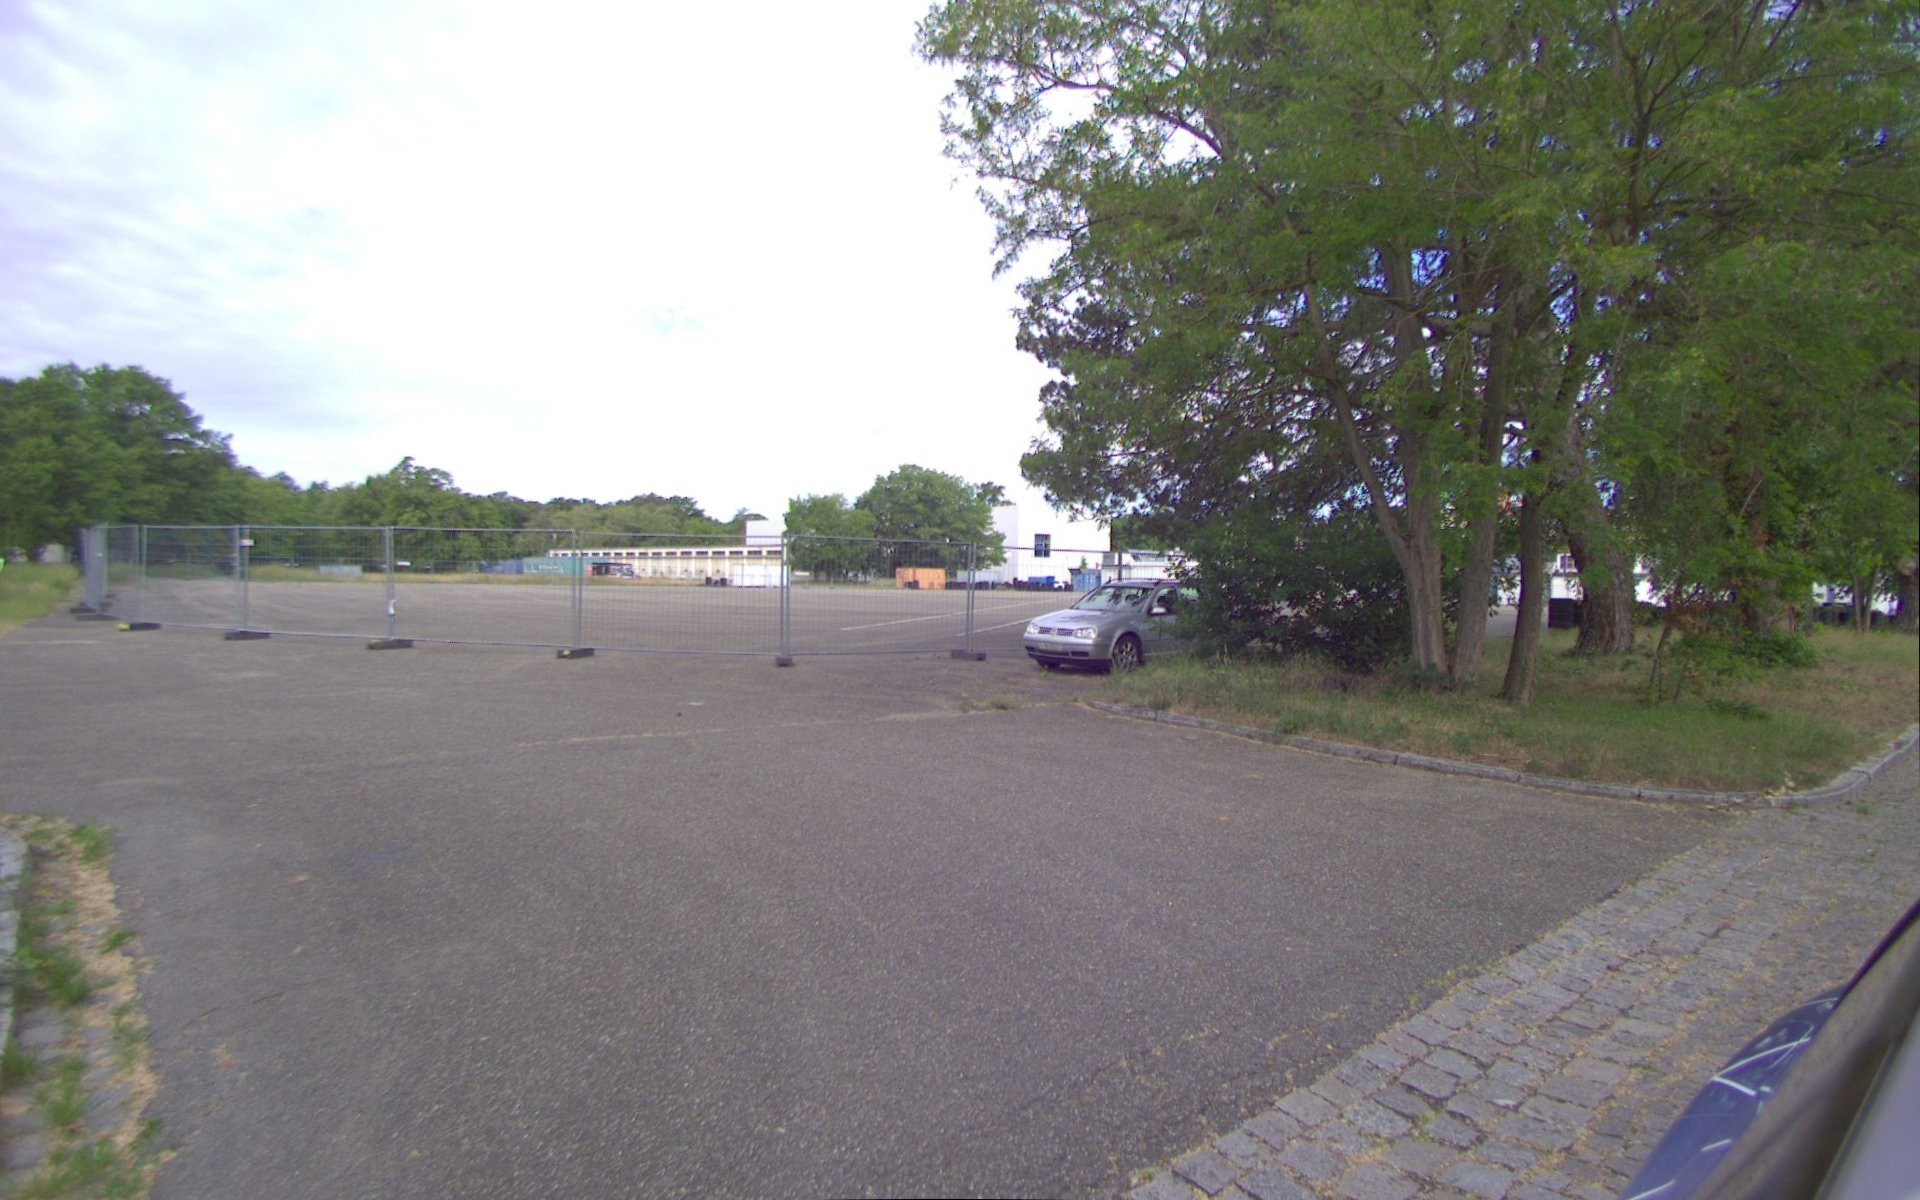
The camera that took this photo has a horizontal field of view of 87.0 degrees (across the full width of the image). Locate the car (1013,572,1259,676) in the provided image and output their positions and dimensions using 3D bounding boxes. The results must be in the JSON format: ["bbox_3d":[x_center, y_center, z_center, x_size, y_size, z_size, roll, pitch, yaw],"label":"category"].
[{"bbox_3d":[2.996,0.314,16.610,4.414,1.469,1.676,0,1,-44],"label":"car"}]
